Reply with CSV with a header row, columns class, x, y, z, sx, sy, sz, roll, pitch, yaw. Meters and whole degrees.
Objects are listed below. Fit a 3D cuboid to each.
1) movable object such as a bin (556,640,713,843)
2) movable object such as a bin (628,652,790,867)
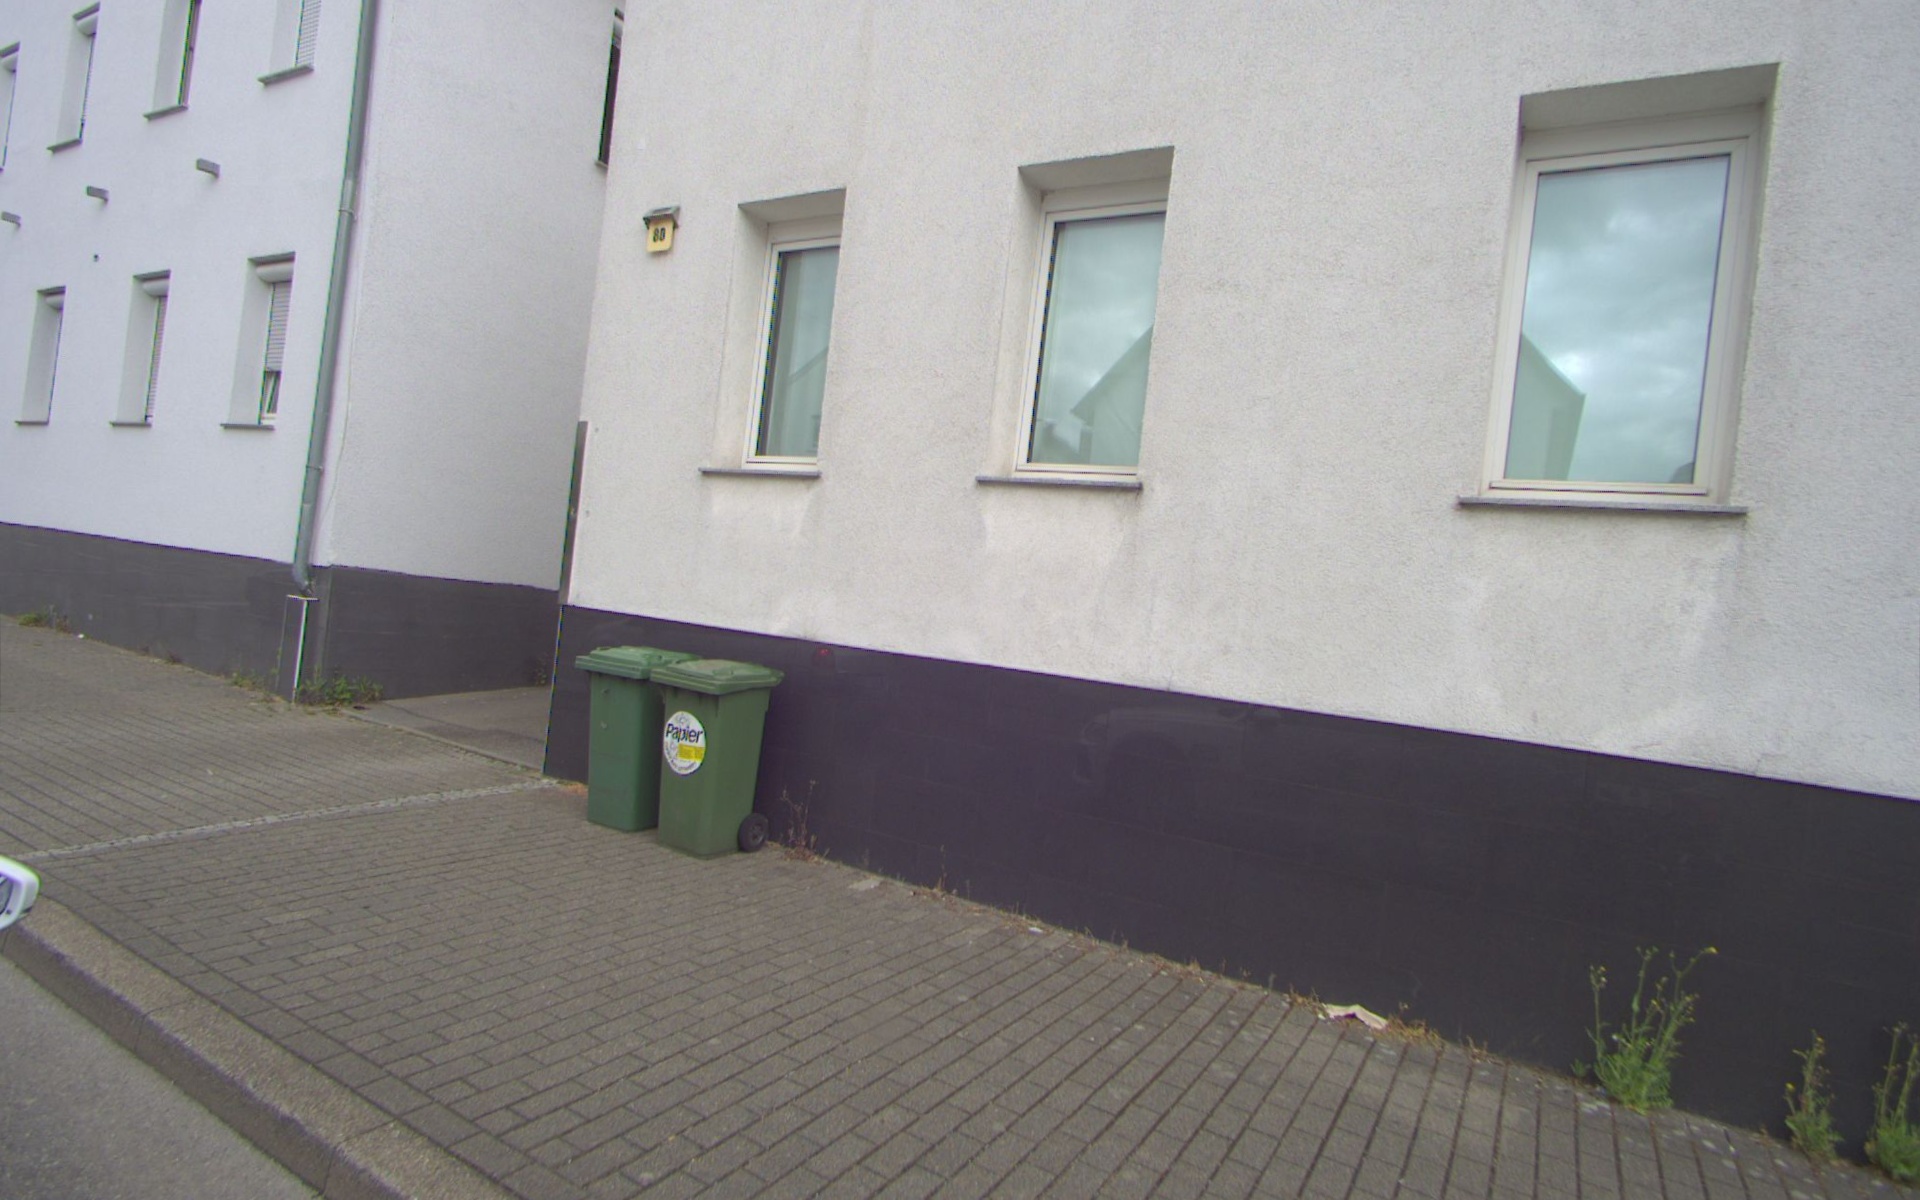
class,x,y,z,sx,sy,sz,roll,pitch,yaw
movable object such as a bin,-1.712,0.715,5.315,0.479,0.953,0.540,7,2,32
movable object such as a bin,-1.254,0.768,5.058,0.479,0.953,0.540,7,2,32
